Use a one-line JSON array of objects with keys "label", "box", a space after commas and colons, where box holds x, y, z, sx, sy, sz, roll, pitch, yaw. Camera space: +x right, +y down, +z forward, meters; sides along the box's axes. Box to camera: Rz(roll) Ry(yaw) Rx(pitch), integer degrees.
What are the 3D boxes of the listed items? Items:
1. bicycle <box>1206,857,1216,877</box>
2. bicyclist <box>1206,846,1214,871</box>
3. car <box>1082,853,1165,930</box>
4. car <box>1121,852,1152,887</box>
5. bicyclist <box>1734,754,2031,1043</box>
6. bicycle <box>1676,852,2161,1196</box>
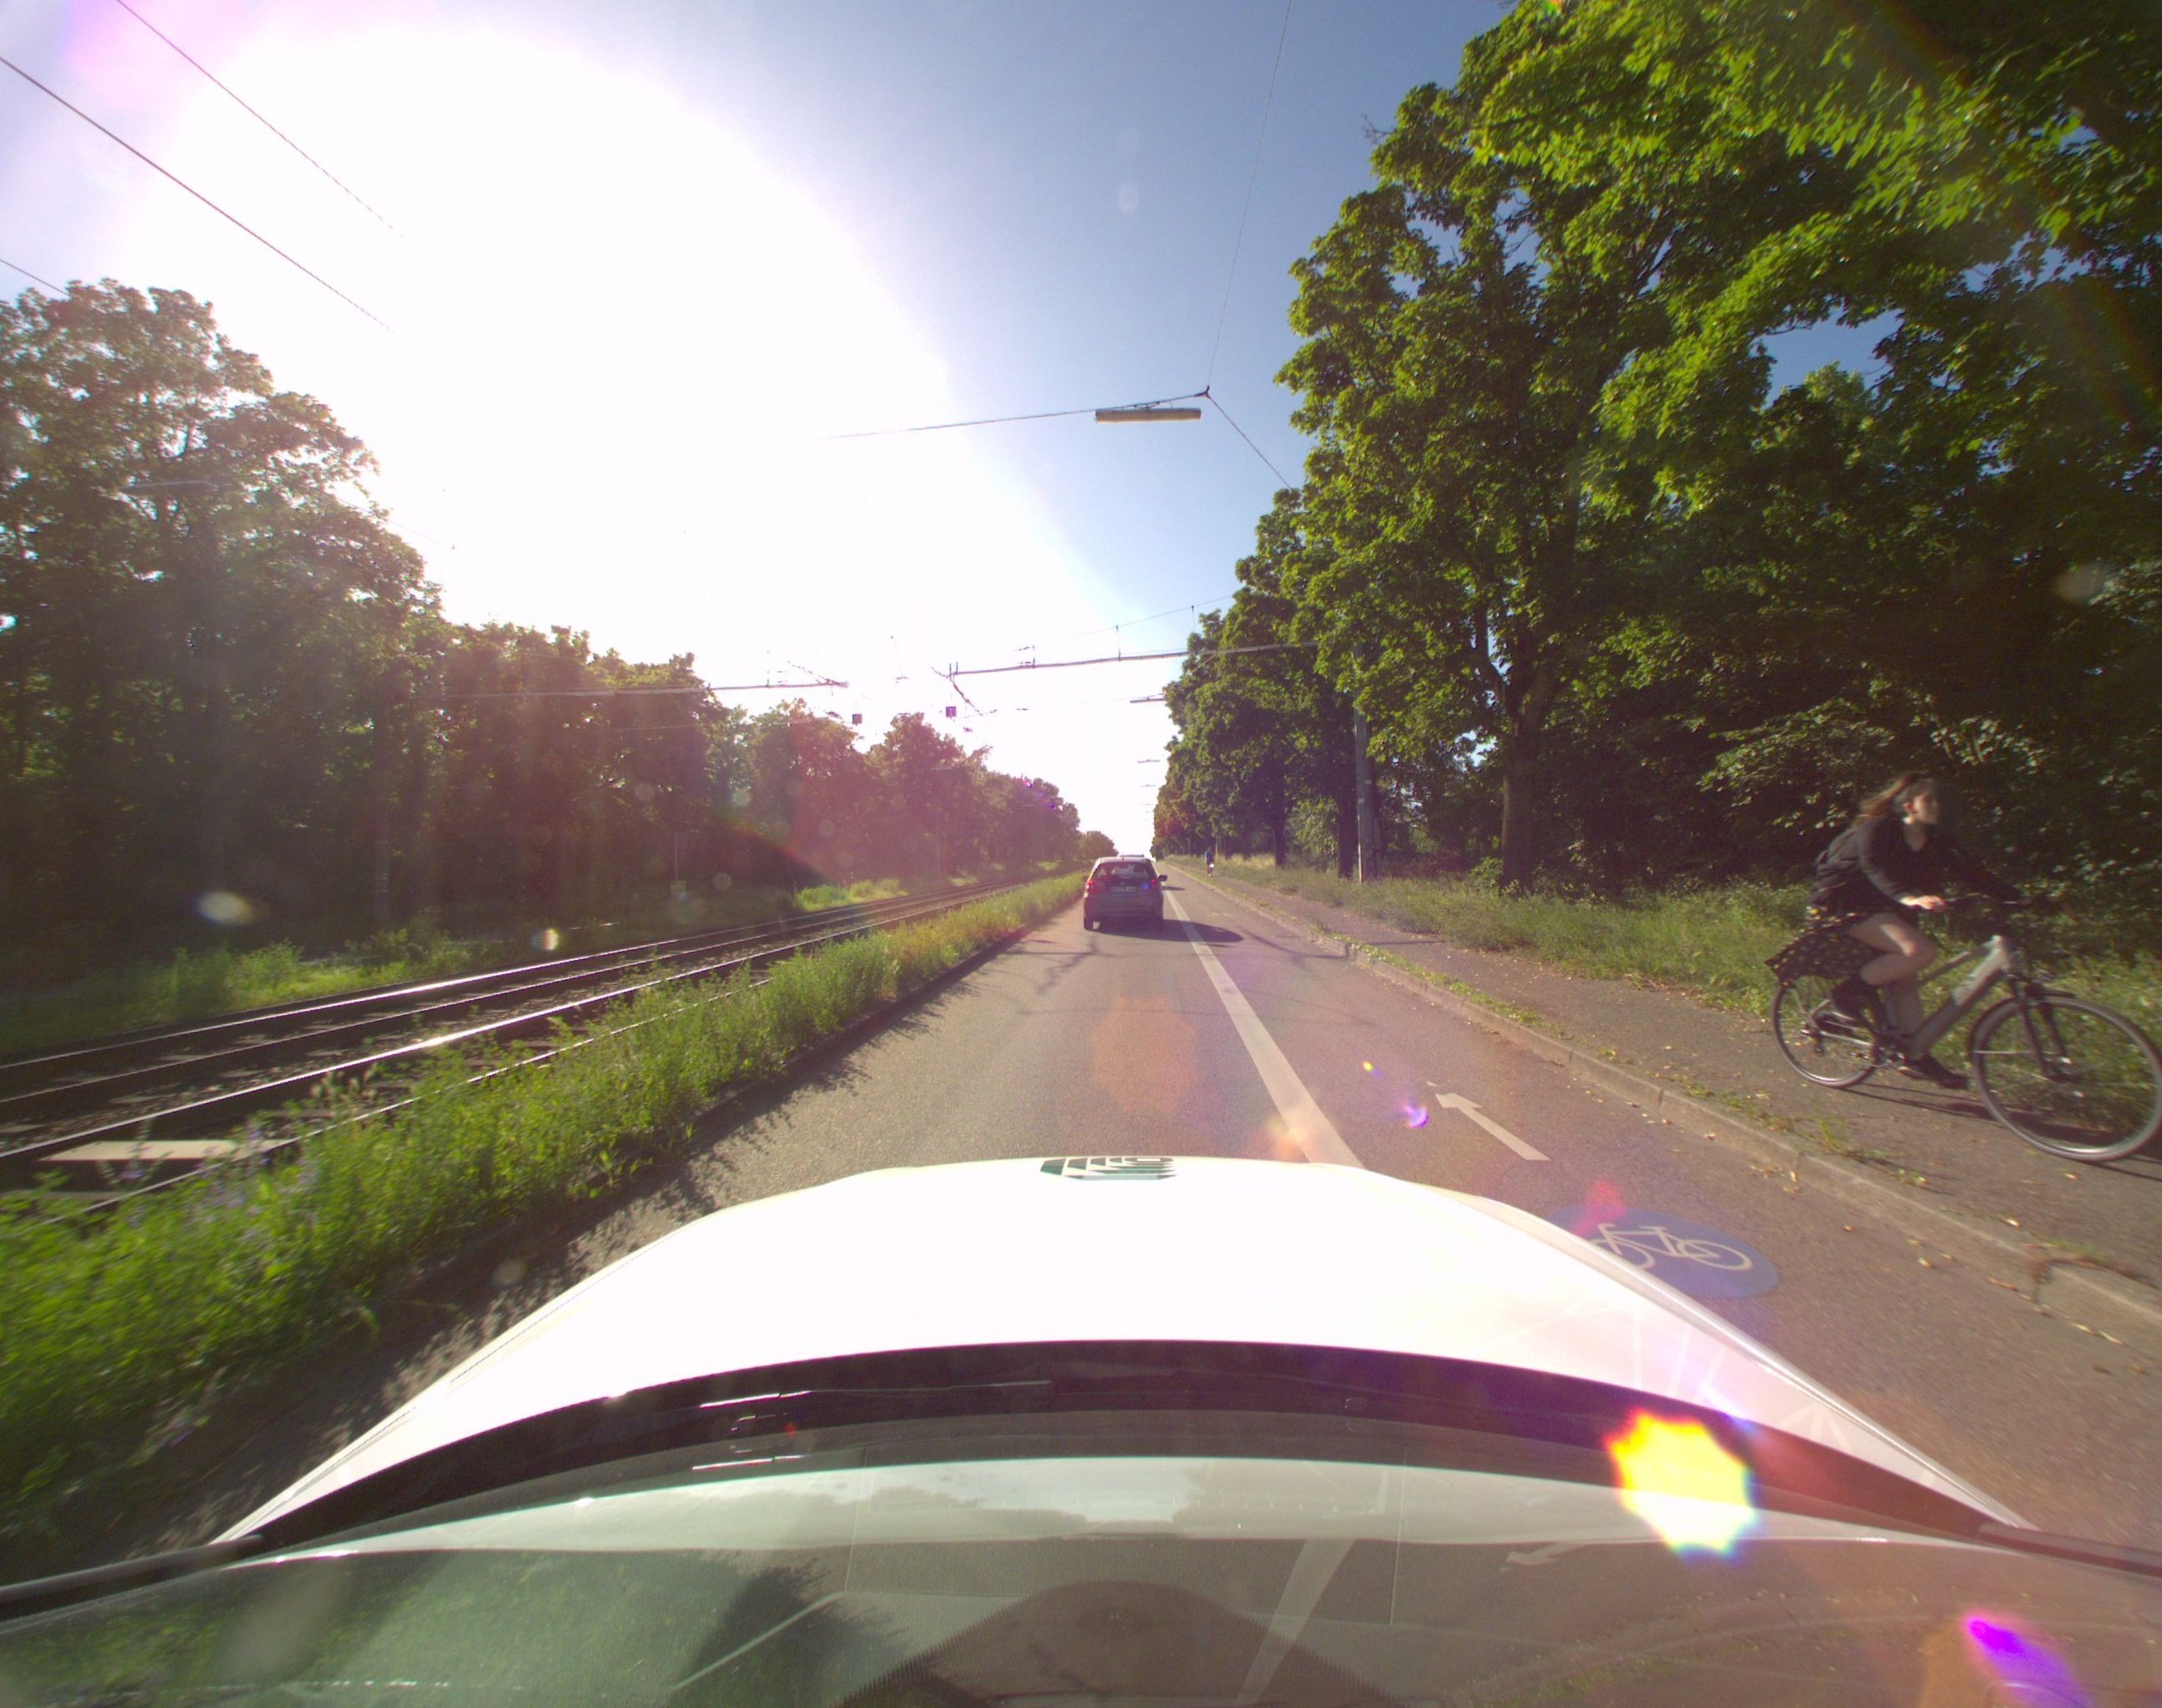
[{"label": "bicycle", "box": [7.979, 0.793, 49.988, 0.416, 1.188, 1.723, -2, 0, 4]}, {"label": "bicyclist", "box": [7.947, 0.292, 50.198, 0.403, 1.507, 0.575, -2, 0, 4]}, {"label": "car", "box": [0.973, 0.756, 18.213, 1.663, 1.515, 3.677, 0, 0, 3]}, {"label": "car", "box": [2.663, 0.731, 38.535, 1.345, 1.528, 3.128, -2, -1, 5]}, {"label": "bicyclist", "box": [4.225, 0.208, 4.362, 0.754, 1.368, 0.805, -3, 0, -3]}, {"label": "bicycle", "box": [4.290, 0.643, 4.081, 0.617, 1.190, 2.504, -6, 2, -3]}]
